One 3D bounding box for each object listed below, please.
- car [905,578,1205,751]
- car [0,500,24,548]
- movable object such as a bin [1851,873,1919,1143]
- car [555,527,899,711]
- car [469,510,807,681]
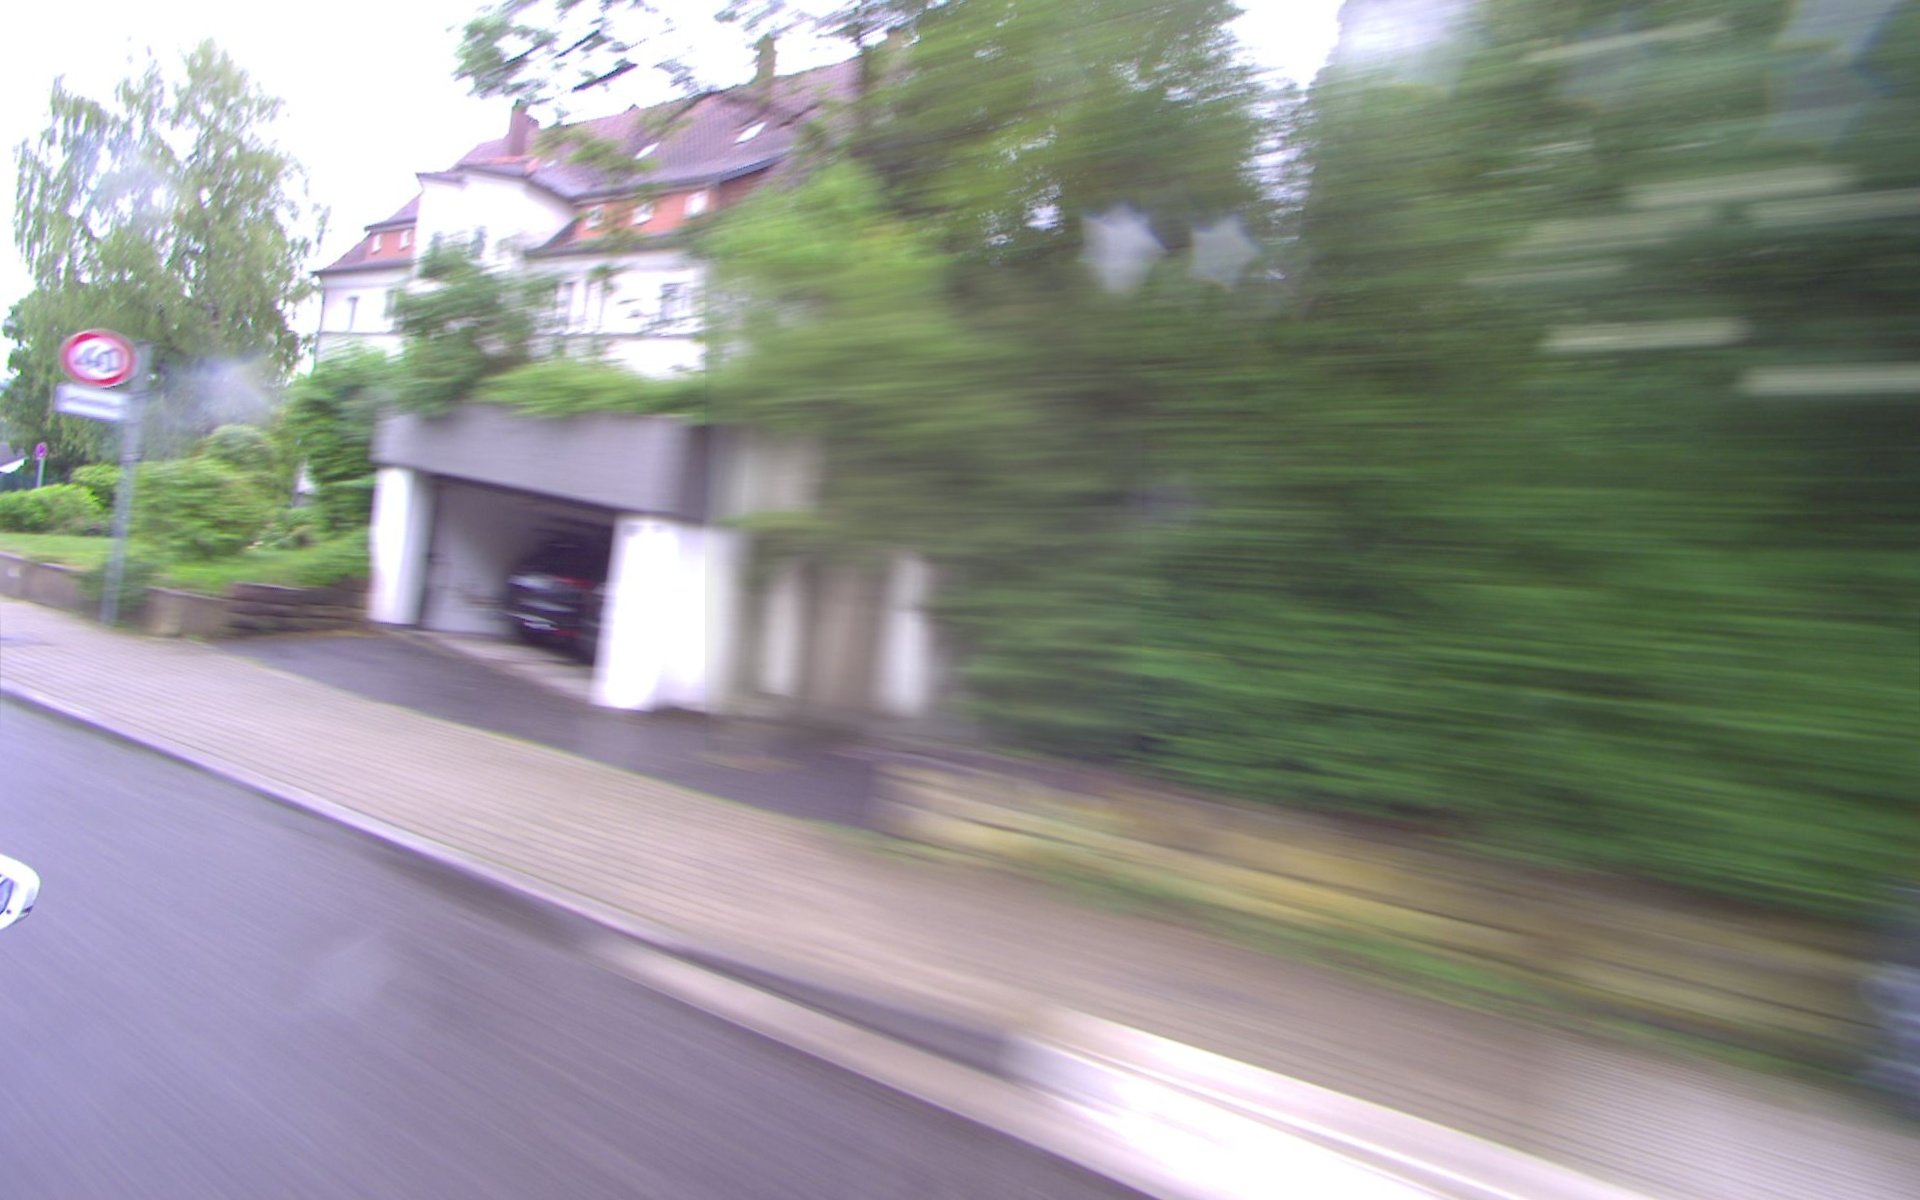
[{"bbox_3d":[1.264,0.763,11.758,1.645,1.462,3.780,11,2,35],"label":"car"},{"bbox_3d":[-30.594,-2.494,30.536,1.773,1.462,4.084,9,-2,-24],"label":"car"},{"bbox_3d":[3.463,1.414,3.404,0.494,0.797,0.507,7,-1,28],"label":"movable object such as a bin"},{"bbox_3d":[-2.674,0.333,12.323,1.645,1.696,3.782,11,1,35],"label":"car"},{"bbox_3d":[-4.256,0.038,13.859,1.770,1.647,3.992,11,0,35],"label":"car"}]
